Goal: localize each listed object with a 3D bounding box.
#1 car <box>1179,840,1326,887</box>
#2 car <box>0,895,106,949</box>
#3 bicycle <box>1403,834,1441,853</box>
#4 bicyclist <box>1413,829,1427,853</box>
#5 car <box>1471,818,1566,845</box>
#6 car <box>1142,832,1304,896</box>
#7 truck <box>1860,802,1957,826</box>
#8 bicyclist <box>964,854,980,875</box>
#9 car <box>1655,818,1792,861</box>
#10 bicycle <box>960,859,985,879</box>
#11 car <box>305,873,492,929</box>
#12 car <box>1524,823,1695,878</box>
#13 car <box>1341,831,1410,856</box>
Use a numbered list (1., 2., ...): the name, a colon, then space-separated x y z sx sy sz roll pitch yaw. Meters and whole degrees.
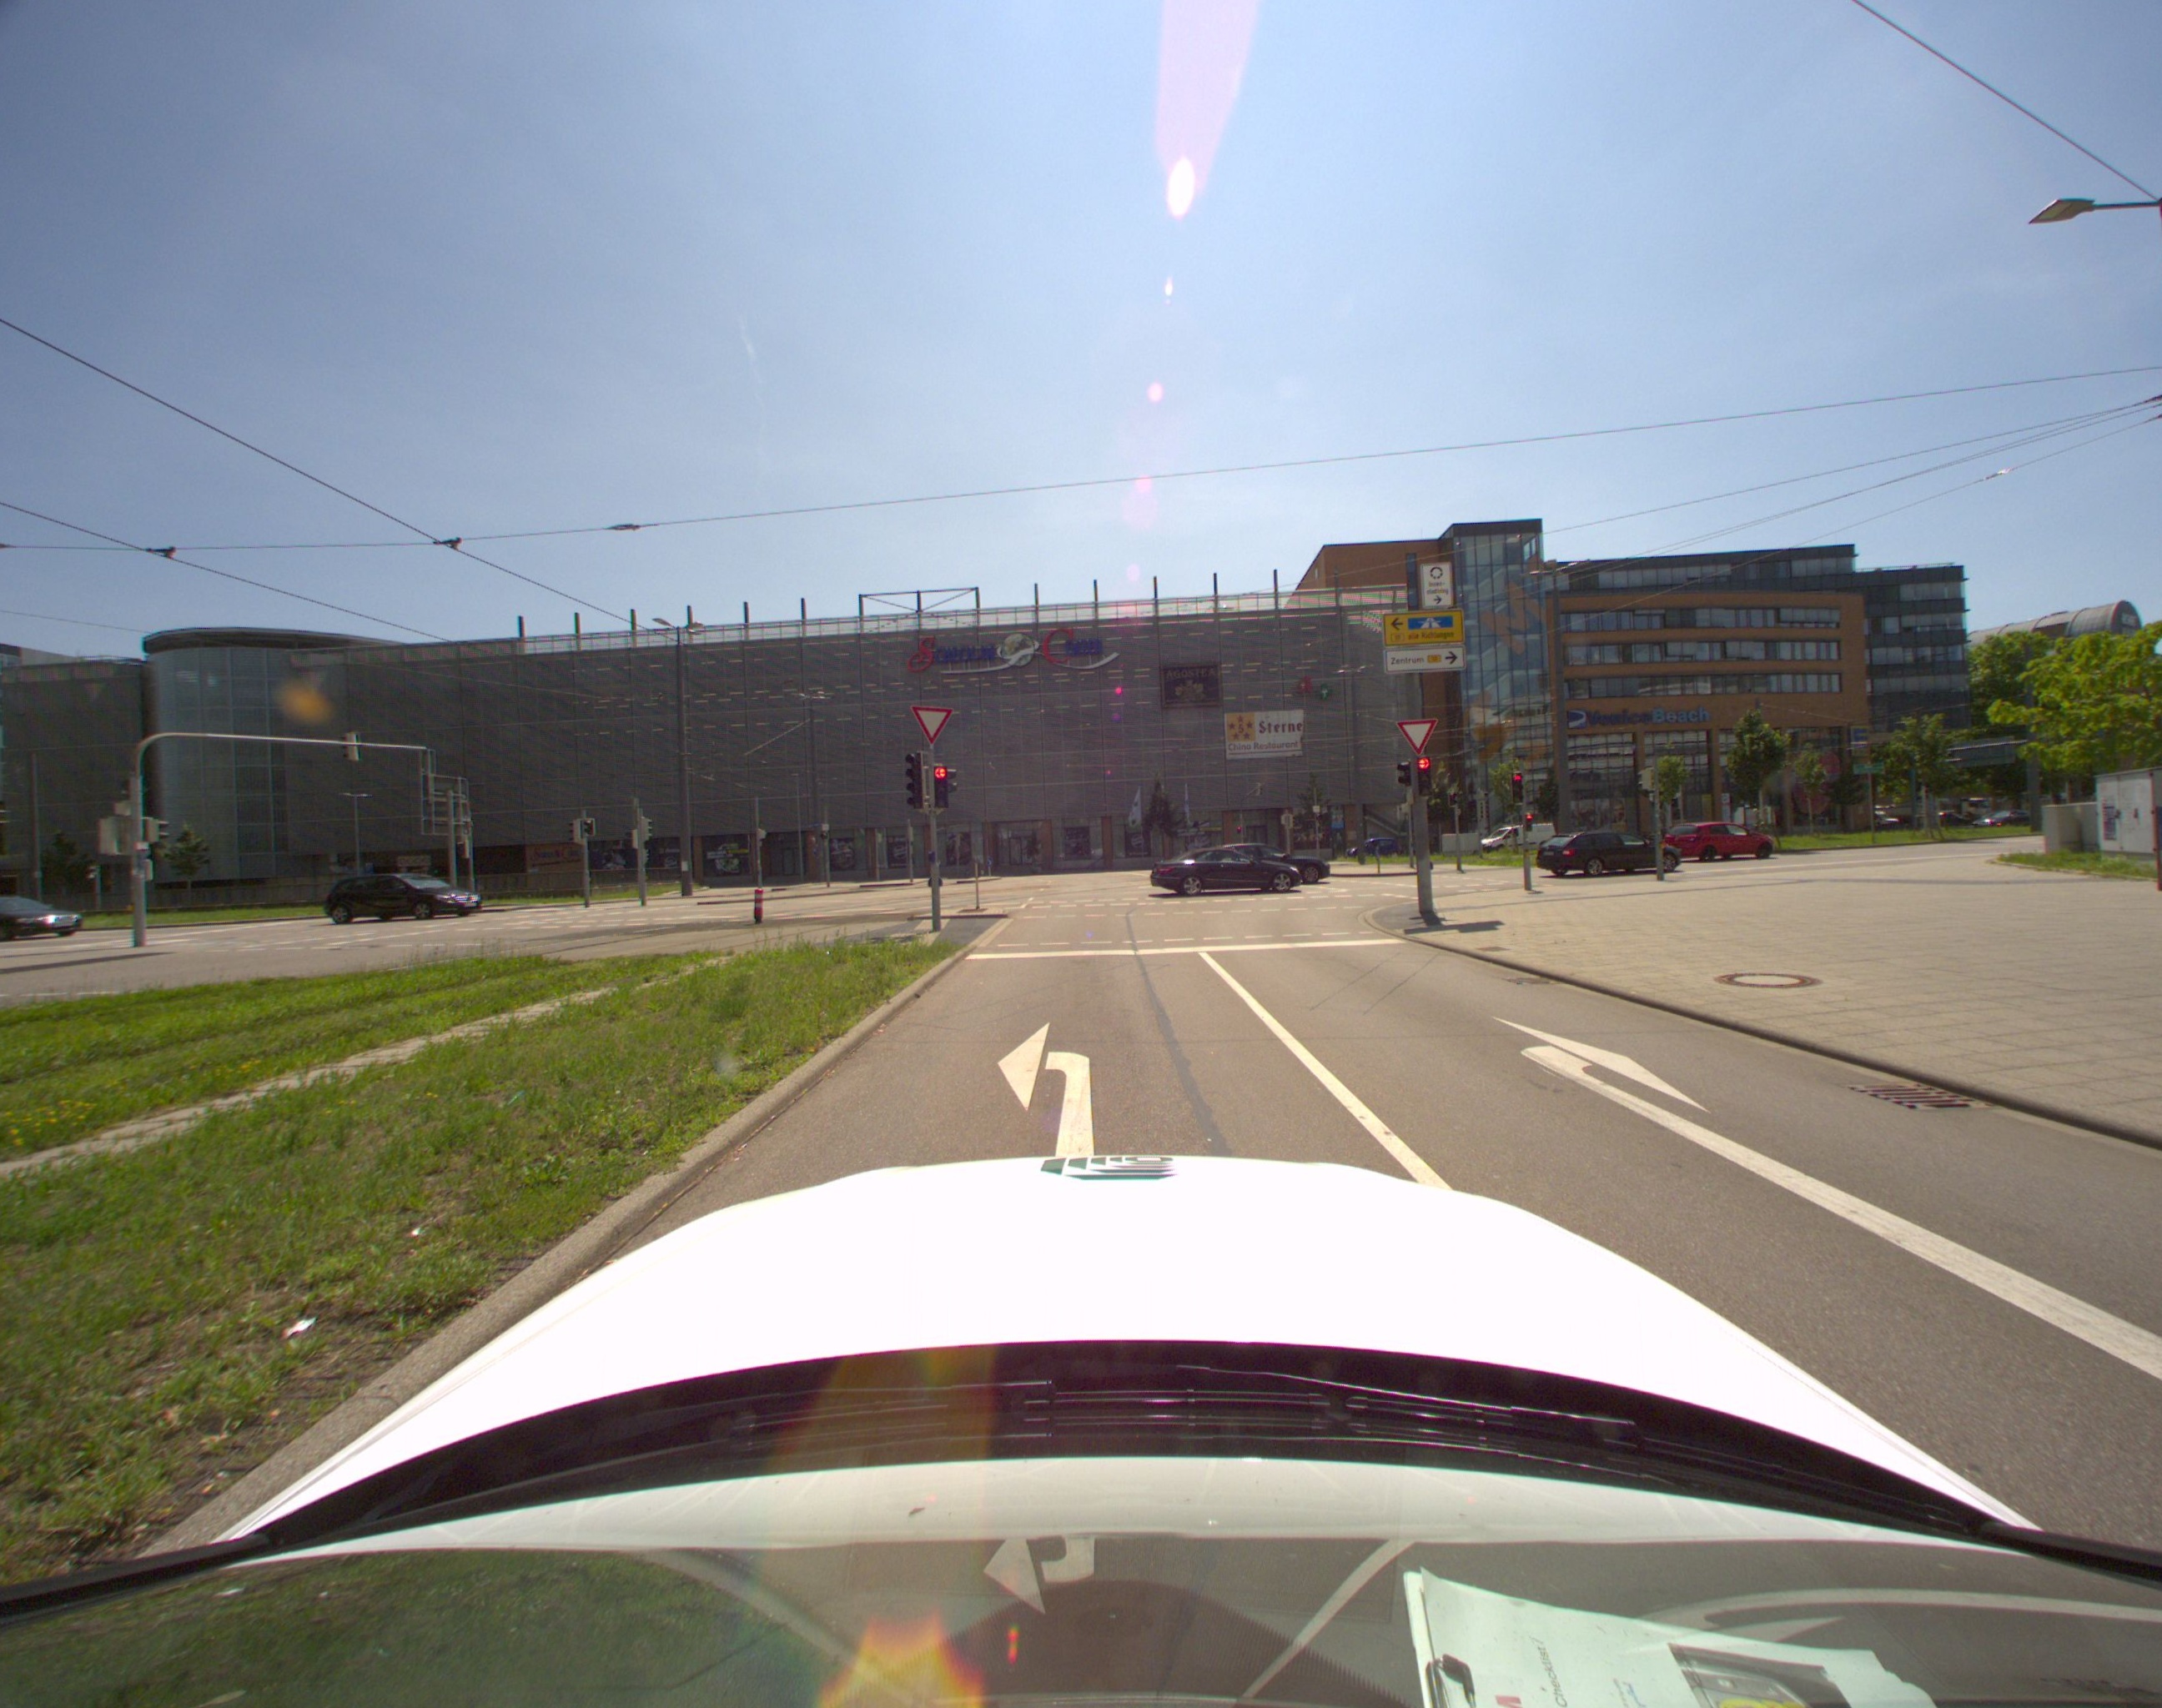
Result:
1. car: 5.977 0.312 28.784 4.751 1.460 1.887 -2 1 -1
2. car: -36.371 2.314 27.201 4.846 1.580 1.997 -2 1 -5
3. bicycle: 28.450 -0.882 68.013 2.836 1.557 0.705 -2 0 4
4. bicyclist: 28.297 -1.067 67.998 0.908 2.013 0.749 -2 0 3
5. car: 29.594 -1.532 55.229 5.452 1.668 1.998 -2 1 -4
6. car: 4.278 0.281 25.069 4.537 1.576 1.999 -4 1 -2
7. truck: 110.663 -5.325 109.167 1.999 2.809 9.182 -2 1 -18
8. bicyclist: -8.477 0.812 63.449 1.033 1.571 0.779 -2 1 8
9. car: 24.643 -0.557 31.284 4.125 1.508 1.837 -2 1 -9
10. bicycle: -8.452 1.157 63.543 1.055 1.390 3.032 -2 1 9
11. car: -22.345 1.505 26.805 4.309 1.553 1.998 -2 1 -3
12. car: 17.334 -0.125 26.826 4.519 1.508 1.839 -3 1 -5
13. car: 19.745 -0.715 54.710 3.974 1.538 1.881 -2 1 0
